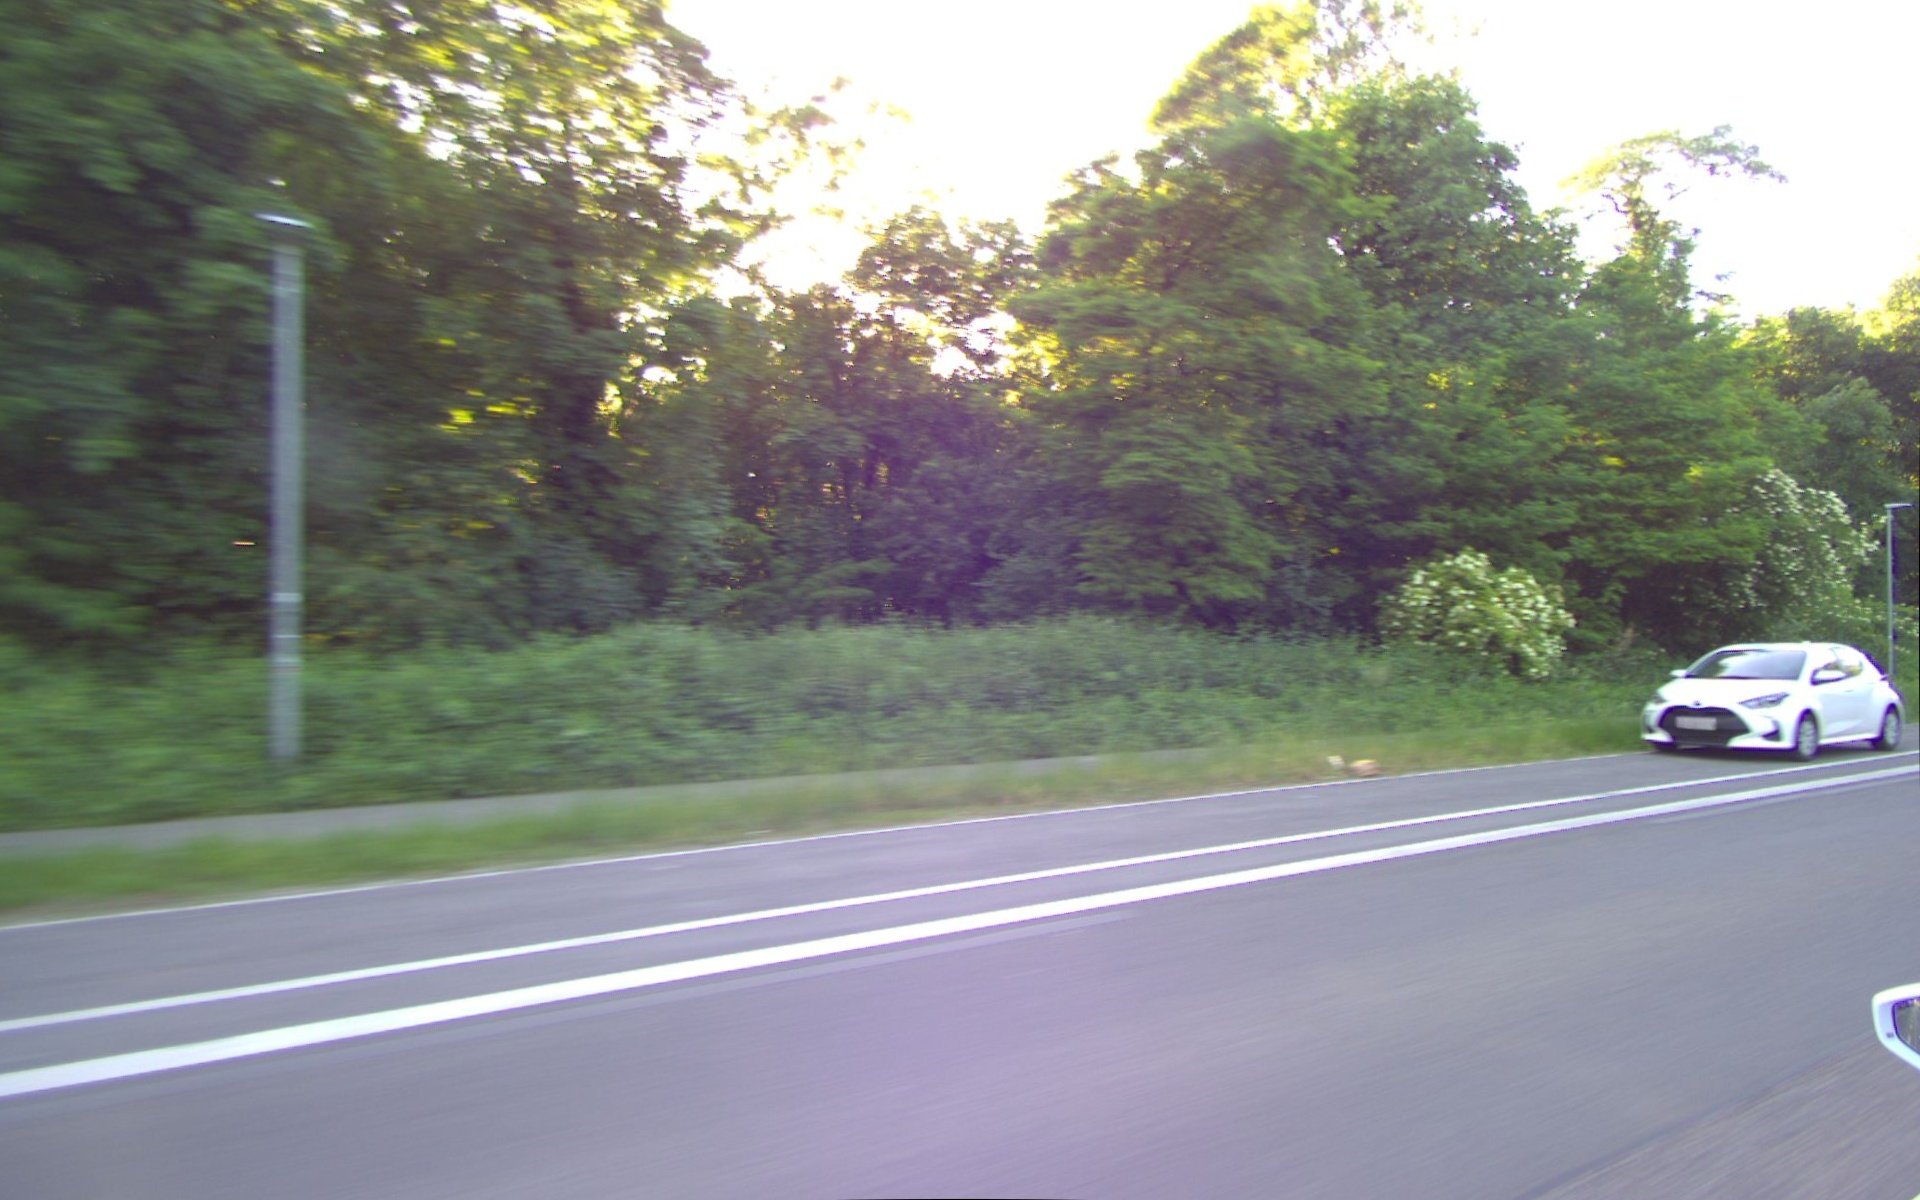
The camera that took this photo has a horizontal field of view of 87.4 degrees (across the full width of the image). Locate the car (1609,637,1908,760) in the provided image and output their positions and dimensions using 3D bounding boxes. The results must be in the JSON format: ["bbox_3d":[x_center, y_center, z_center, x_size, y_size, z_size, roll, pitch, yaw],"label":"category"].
[{"bbox_3d":[11.049,1.271,13.865,4.023,1.469,1.859,1,-4,-30],"label":"car"}]
